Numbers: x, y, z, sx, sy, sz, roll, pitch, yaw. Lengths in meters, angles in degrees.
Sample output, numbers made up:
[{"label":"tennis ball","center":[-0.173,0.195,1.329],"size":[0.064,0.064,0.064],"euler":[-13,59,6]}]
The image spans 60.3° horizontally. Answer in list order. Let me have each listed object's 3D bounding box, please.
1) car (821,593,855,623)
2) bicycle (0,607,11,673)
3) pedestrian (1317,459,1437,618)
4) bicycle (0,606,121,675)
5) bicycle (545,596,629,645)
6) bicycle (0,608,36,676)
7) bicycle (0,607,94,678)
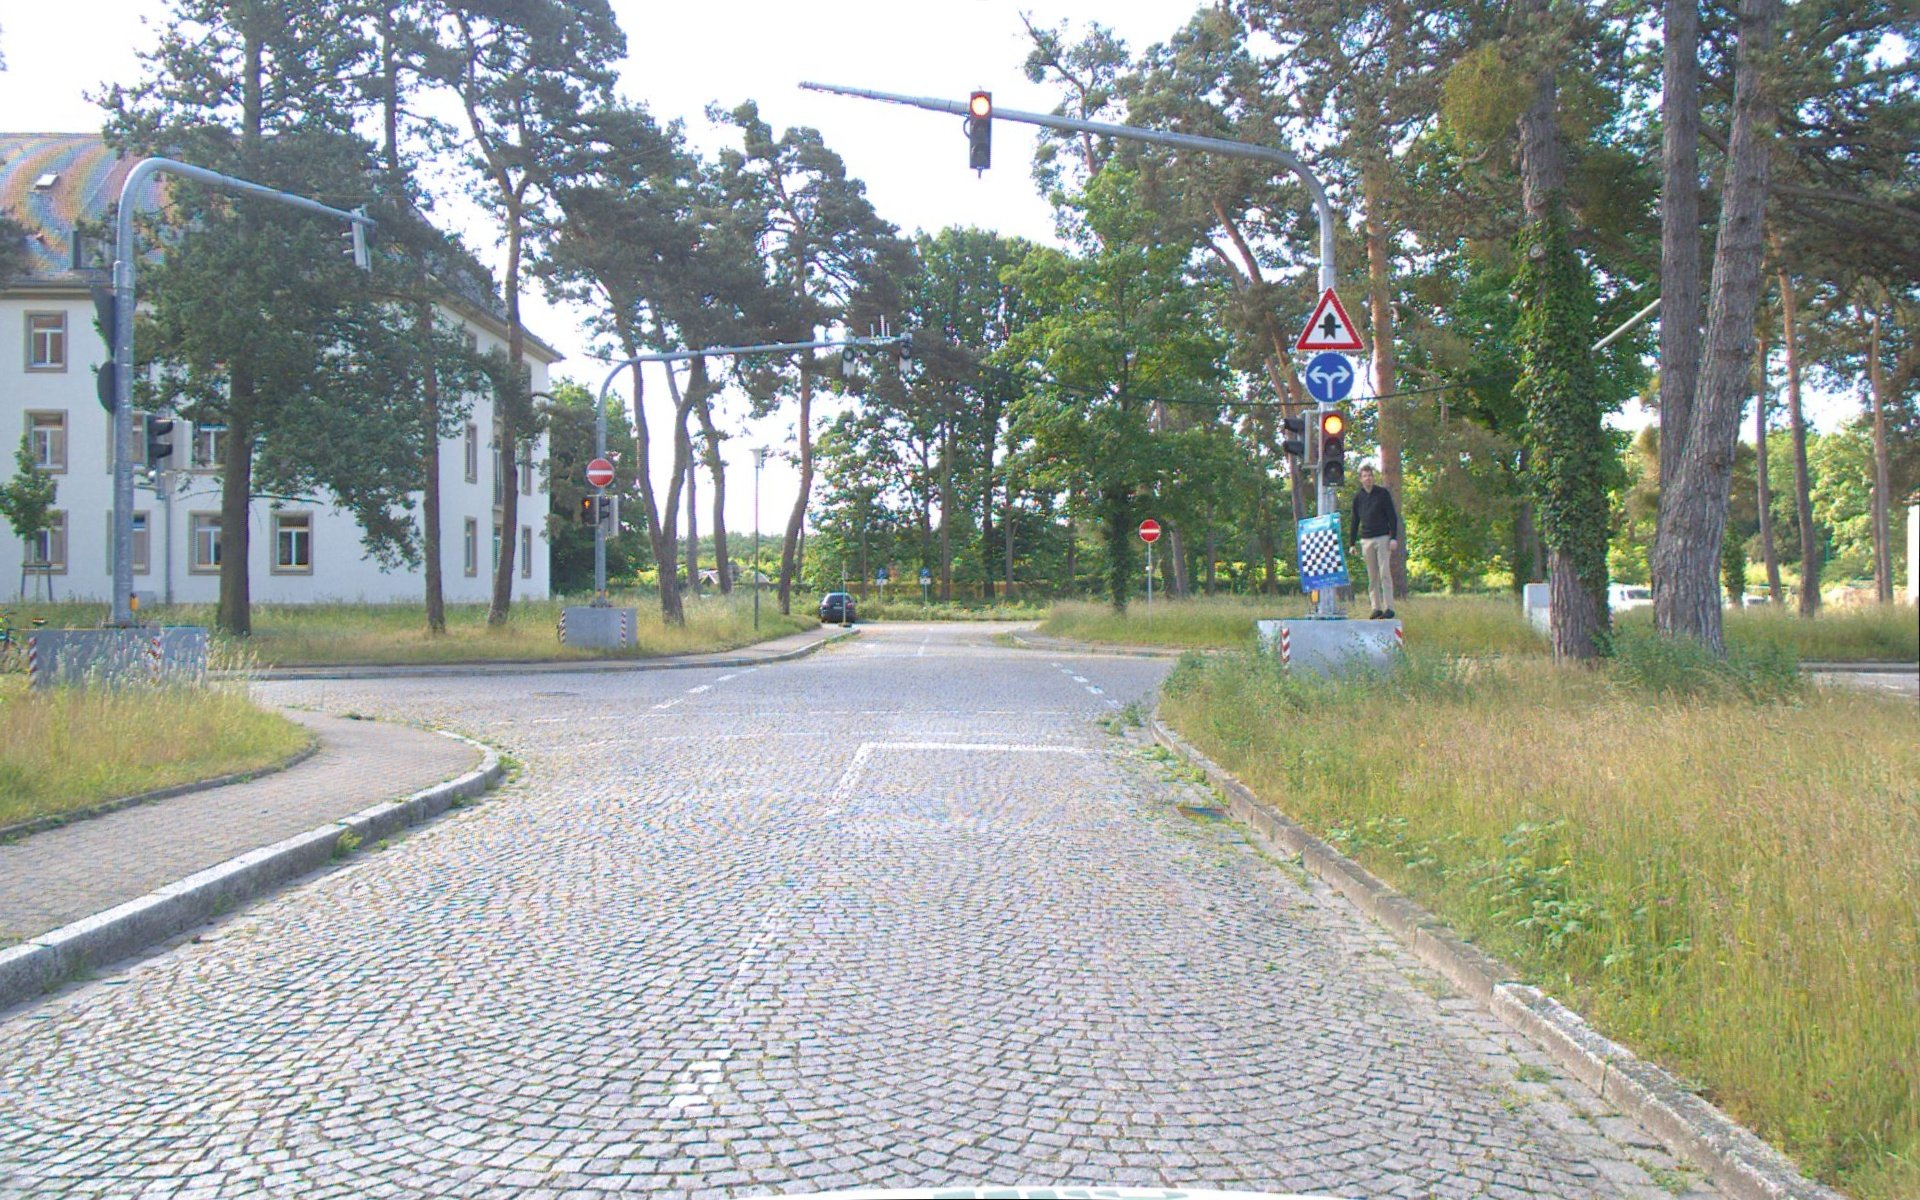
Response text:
[{"label":"car","center":[-6.406,0.417,87.322],"size":[1.675,1.522,3.917],"euler":[0,0,-3]},{"label":"bicycle","center":[-18.428,0.770,30.537],"size":[0.620,1.242,2.123],"euler":[0,0,-1]},{"label":"pedestrian","center":[4.997,-0.713,19.778],"size":[1.146,1.827,1.061],"euler":[-1,0,29]},{"label":"bicycle","center":[-16.614,0.735,30.540],"size":[1.905,1.242,0.635],"euler":[0,0,-1]},{"label":"bicycle","center":[-8.530,0.446,37.900],"size":[0.623,1.084,1.942],"euler":[0,0,38]},{"label":"bicycle","center":[-17.953,0.777,30.556],"size":[0.620,1.242,2.114],"euler":[0,0,-1]},{"label":"bicycle","center":[-16.706,0.759,29.824],"size":[1.824,1.242,0.635],"euler":[0,0,-1]}]
